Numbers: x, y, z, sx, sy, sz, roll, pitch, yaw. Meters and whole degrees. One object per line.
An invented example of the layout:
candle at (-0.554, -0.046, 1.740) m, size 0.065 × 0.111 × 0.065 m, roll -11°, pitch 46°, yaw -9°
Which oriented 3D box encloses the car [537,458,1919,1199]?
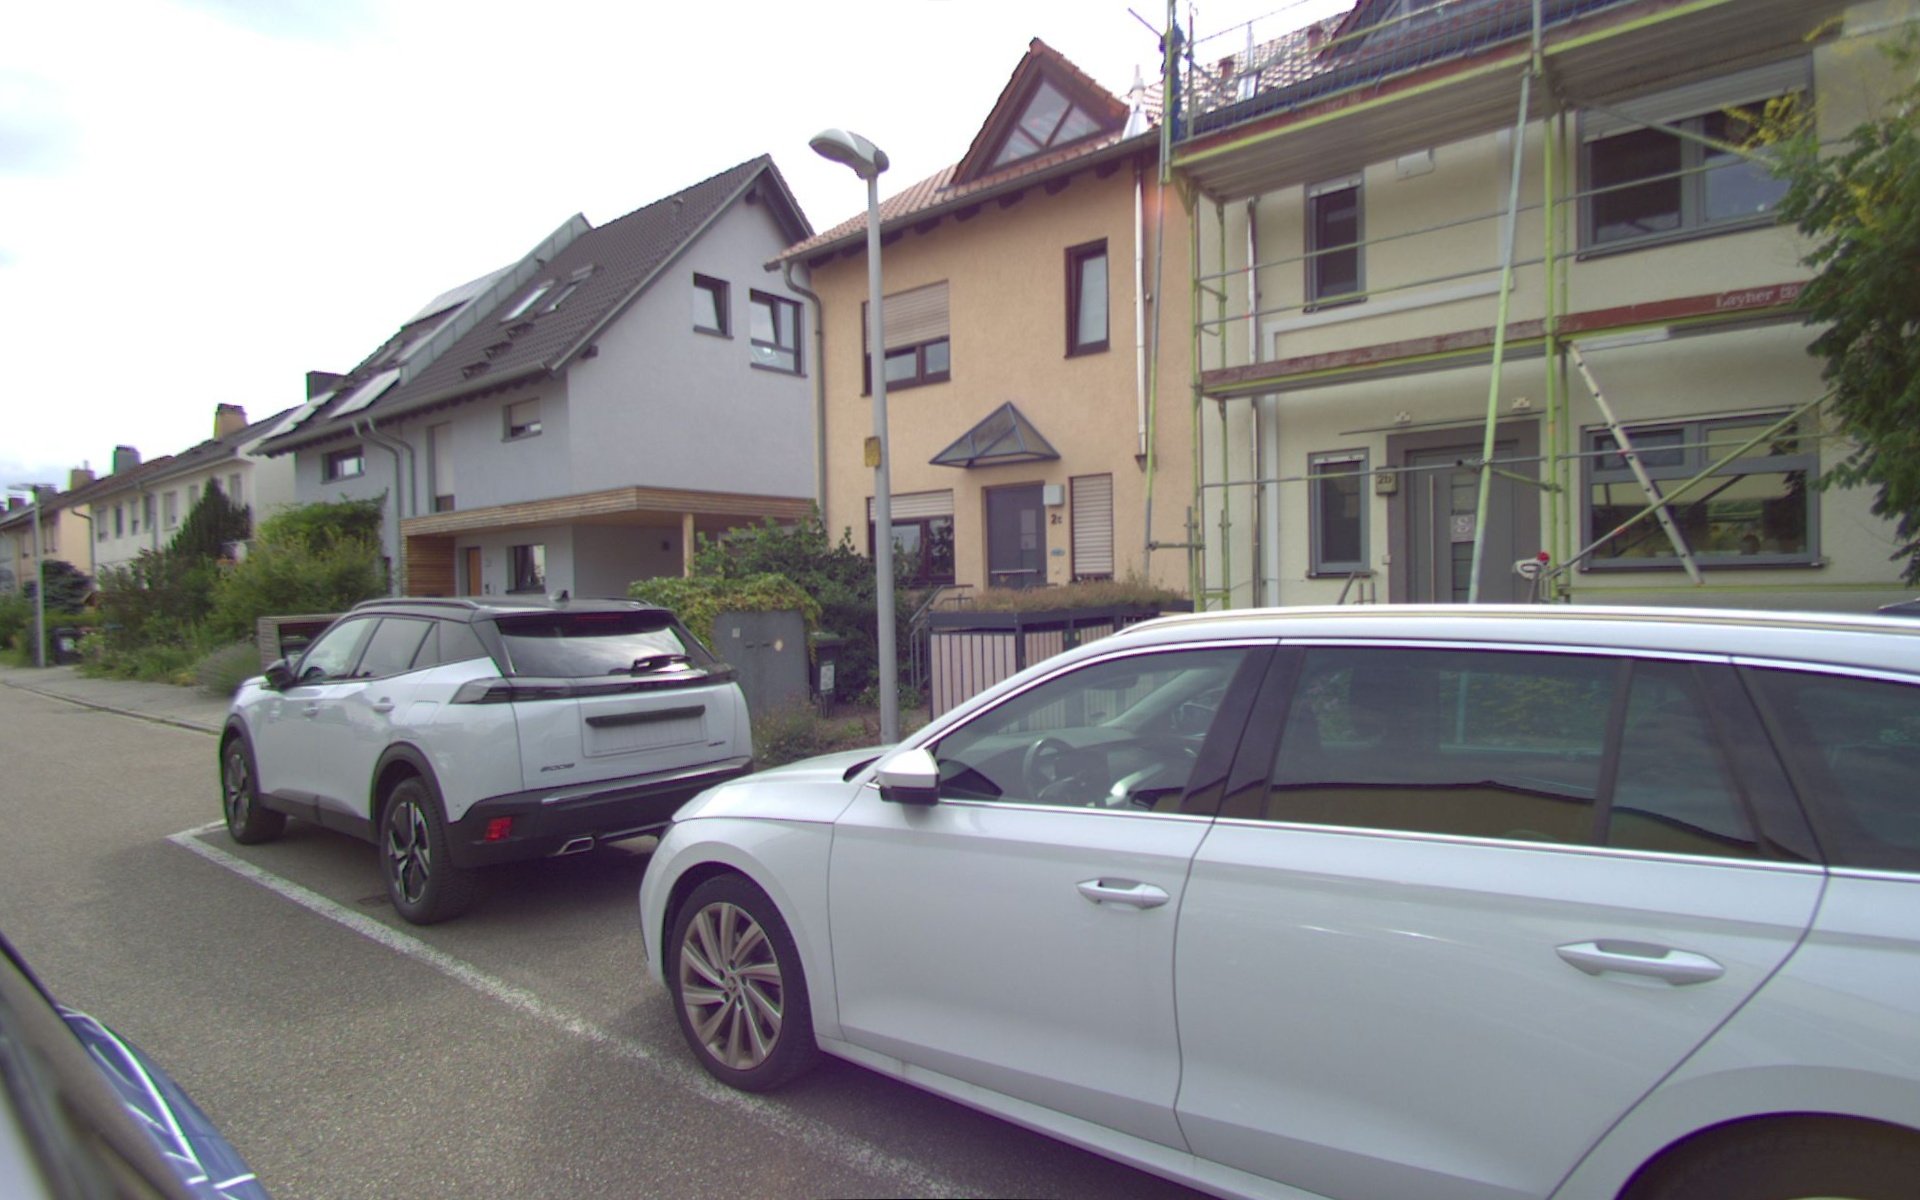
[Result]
car at (0.924, 0.603, 2.844) m, size 4.842 × 1.574 × 1.792 m, roll -1°, pitch 0°, yaw 39°

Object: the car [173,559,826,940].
car at (-3.145, 0.644, 6.393) m, size 4.629 × 1.568 × 1.915 m, roll -1°, pitch 0°, yaw 39°

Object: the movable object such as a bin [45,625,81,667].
movable object such as a bin at (-22.974, 1.171, 25.928) m, size 0.664 × 1.035 × 0.596 m, roll -1°, pitch 0°, yaw 39°

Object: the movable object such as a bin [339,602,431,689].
movable object such as a bin at (-9.477, 0.732, 16.685) m, size 0.999 × 1.321 × 0.941 m, roll -1°, pitch 3°, yaw 38°
